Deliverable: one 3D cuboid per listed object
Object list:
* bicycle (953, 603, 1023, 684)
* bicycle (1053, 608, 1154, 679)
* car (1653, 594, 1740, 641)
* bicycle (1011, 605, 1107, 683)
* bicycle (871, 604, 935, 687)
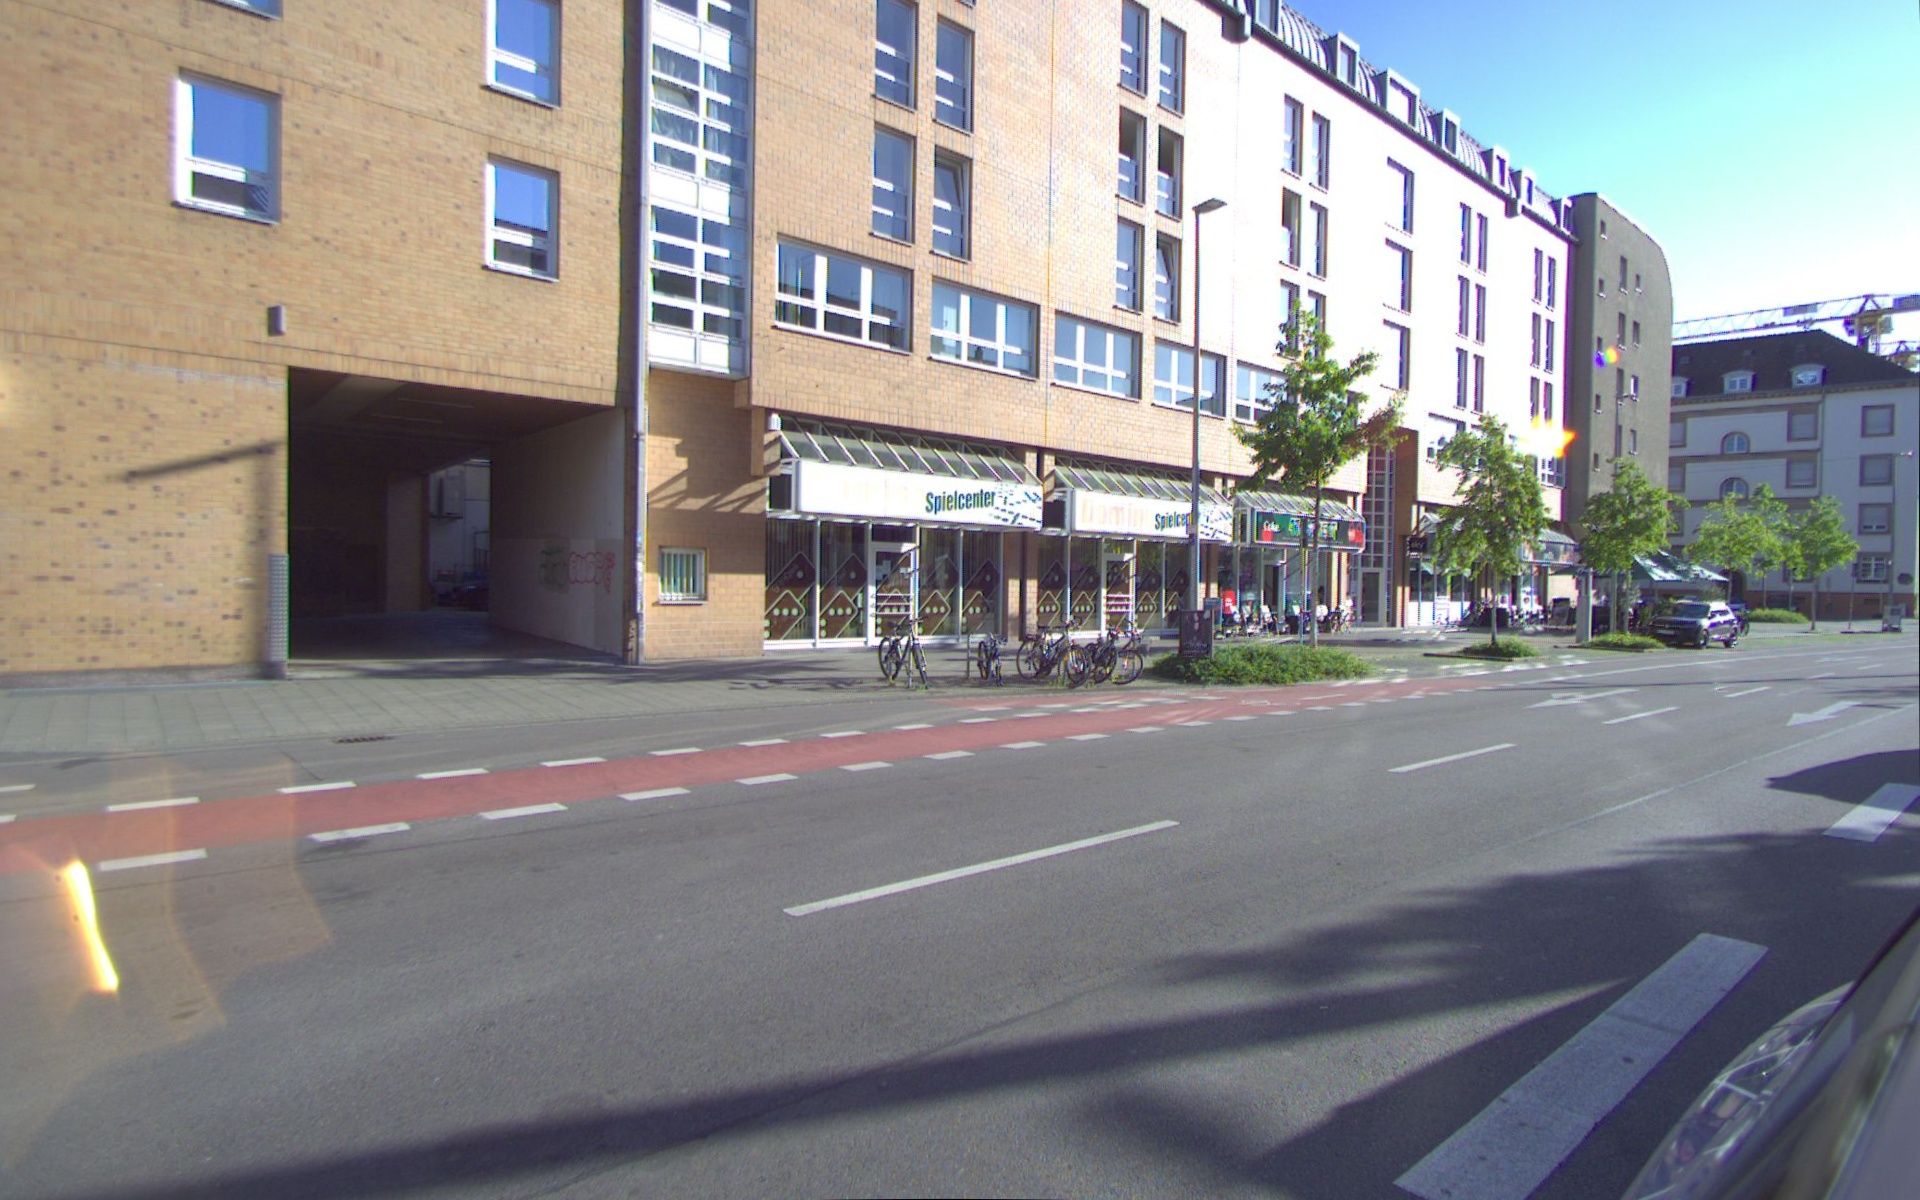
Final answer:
[{"bbox_3d":[0.432,0.680,16.754,0.541,1.162,1.780,0,3,-20],"label":"bicycle"},{"bbox_3d":[2.536,0.750,18.062,0.724,1.084,1.775,-1,3,-37],"label":"bicycle"},{"bbox_3d":[25.764,0.578,35.361,3.628,1.549,1.654,-1,0,-40],"label":"car"},{"bbox_3d":[1.660,0.721,17.226,0.543,1.155,1.775,-1,3,-37],"label":"bicycle"},{"bbox_3d":[-0.935,0.691,16.284,0.541,1.162,1.780,0,3,-20],"label":"bicycle"}]
